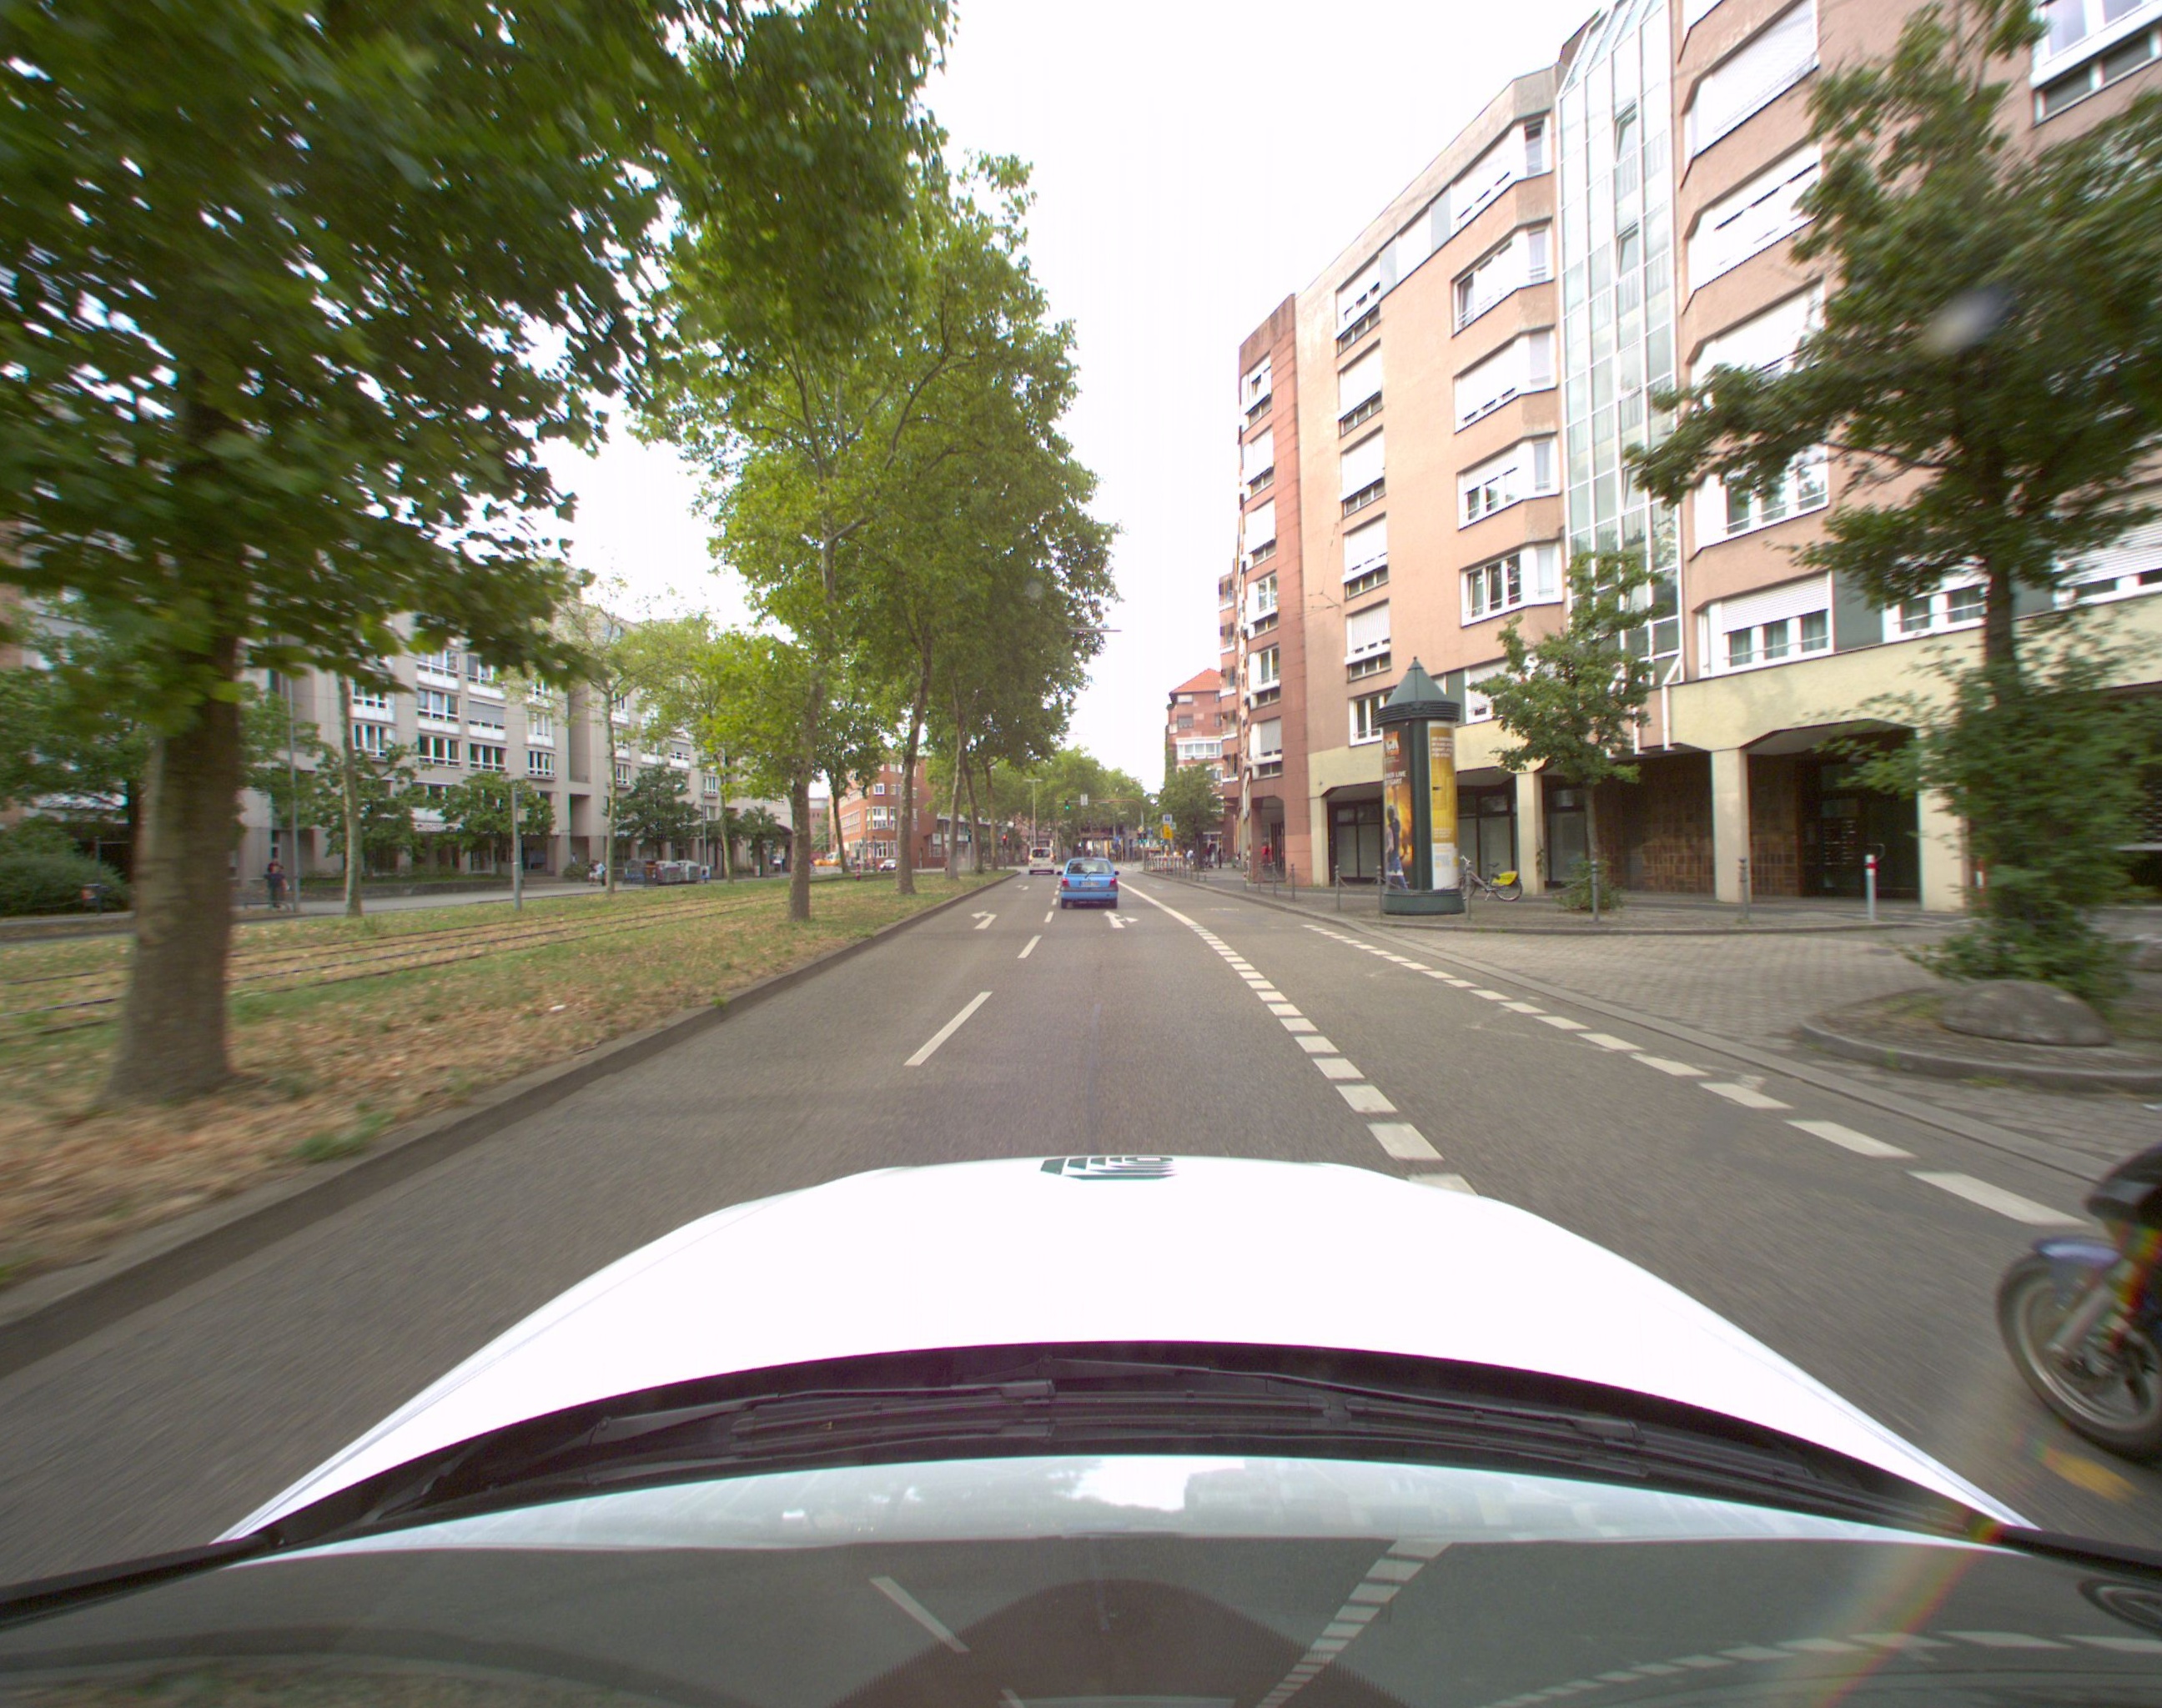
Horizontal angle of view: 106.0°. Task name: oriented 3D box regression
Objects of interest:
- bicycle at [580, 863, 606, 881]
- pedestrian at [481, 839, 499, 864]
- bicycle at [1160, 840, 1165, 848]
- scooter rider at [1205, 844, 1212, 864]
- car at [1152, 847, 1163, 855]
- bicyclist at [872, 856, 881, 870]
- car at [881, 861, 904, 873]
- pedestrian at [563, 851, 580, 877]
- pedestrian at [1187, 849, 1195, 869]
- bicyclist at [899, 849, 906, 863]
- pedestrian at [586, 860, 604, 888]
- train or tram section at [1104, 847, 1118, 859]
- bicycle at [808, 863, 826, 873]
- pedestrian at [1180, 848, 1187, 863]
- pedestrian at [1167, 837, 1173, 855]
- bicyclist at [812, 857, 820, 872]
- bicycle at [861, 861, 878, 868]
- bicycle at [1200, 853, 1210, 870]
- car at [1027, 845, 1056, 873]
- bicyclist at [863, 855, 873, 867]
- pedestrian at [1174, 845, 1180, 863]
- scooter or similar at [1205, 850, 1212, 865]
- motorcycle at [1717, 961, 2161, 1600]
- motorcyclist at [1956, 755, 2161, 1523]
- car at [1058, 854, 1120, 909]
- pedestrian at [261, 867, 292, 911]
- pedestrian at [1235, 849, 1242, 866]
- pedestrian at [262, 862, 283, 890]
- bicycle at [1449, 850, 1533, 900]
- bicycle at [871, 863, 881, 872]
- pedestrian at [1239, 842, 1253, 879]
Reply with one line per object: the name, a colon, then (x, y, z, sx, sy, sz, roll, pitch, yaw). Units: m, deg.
bicycle: (-34.784, 1.298, 58.068, 0.530, 1.212, 1.843, -1, 0, 6)
pedestrian: (-39.548, -0.174, 54.488, 0.633, 1.672, 0.661, -1, 0, 8)
bicycle: (10.651, -1.253, 106.863, 0.614, 1.008, 1.737, -1, 0, 5)
scooter rider: (10.377, 0.006, 66.204, 0.458, 1.557, 0.565, -1, 0, 3)
car: (14.883, -0.572, 157.341, 1.688, 1.601, 4.012, -1, 0, 11)
bicyclist: (-25.118, 1.062, 100.027, 0.686, 1.672, 0.954, -1, 0, 5)
car: (-22.209, 1.496, 95.880, 1.725, 1.245, 4.531, -1, 0, -2)
pedestrian: (-36.681, 0.726, 58.624, 0.765, 1.809, 0.694, -1, 0, 8)
pedestrian: (10.147, 0.475, 75.439, 0.673, 1.828, 0.852, -1, 0, 6)
bicyclist: (-24.241, 0.240, 110.486, 0.664, 1.848, 1.082, -2, 0, 3)
pedestrian: (-30.924, 1.254, 51.786, 0.550, 1.705, 0.885, -1, 0, 3)
train or tram section: (7.926, -0.253, 214.953, 2.374, 3.254, 8.842, -2, 0, 10)
bicycle: (-31.085, 1.627, 95.780, 1.886, 1.092, 0.571, -1, 0, -38)
pedestrian: (10.803, 0.164, 85.940, 0.672, 1.538, 0.949, -1, 0, 6)
pedestrian: (8.159, -0.709, 74.926, 0.514, 1.616, 0.852, -1, 0, 4)
bicyclist: (-31.135, 1.256, 95.752, 0.788, 1.672, 0.567, -1, 0, -38)
bicycle: (-26.321, 1.299, 101.304, 1.997, 0.836, 0.572, -1, 0, -38)
bicycle: (8.440, 0.504, 55.568, 0.609, 1.118, 1.808, -1, 0, 6)
car: (-2.893, 0.332, 60.629, 1.926, 1.925, 4.953, -1, 0, -1)
bicyclist: (-26.518, 0.861, 101.188, 1.039, 1.562, 0.576, -1, 0, -38)
pedestrian: (8.767, -0.036, 74.496, 0.514, 1.616, 0.852, -1, 0, 5)
scooter or similar: (10.403, 0.257, 66.487, 0.471, 1.206, 1.332, -1, 0, 5)
motorcycle: (2.508, 0.912, 1.559, 0.765, 1.107, 2.206, -2, 0, -2)
motorcyclist: (2.504, 0.553, 1.445, 0.757, 1.519, 1.017, -2, 0, -3)
car: (0.191, 0.729, 23.530, 1.635, 1.386, 3.842, -1, 0, -1)
pedestrian: (-32.060, 1.389, 32.458, 0.550, 1.705, 0.627, -1, 0, 3)
pedestrian: (12.028, 0.273, 62.156, 0.483, 1.324, 0.487, -1, 0, 13)
pedestrian: (-39.261, 1.071, 39.544, 0.454, 1.323, 0.556, -1, 0, 10)
bicycle: (9.792, 0.511, 19.490, 1.644, 1.129, 0.675, -2, -1, 40)
bicycle: (-25.127, 1.635, 99.847, 0.687, 1.092, 1.880, -1, 0, 5)
pedestrian: (7.495, 0.277, 36.938, 0.539, 1.650, 0.828, -1, 0, 15)
